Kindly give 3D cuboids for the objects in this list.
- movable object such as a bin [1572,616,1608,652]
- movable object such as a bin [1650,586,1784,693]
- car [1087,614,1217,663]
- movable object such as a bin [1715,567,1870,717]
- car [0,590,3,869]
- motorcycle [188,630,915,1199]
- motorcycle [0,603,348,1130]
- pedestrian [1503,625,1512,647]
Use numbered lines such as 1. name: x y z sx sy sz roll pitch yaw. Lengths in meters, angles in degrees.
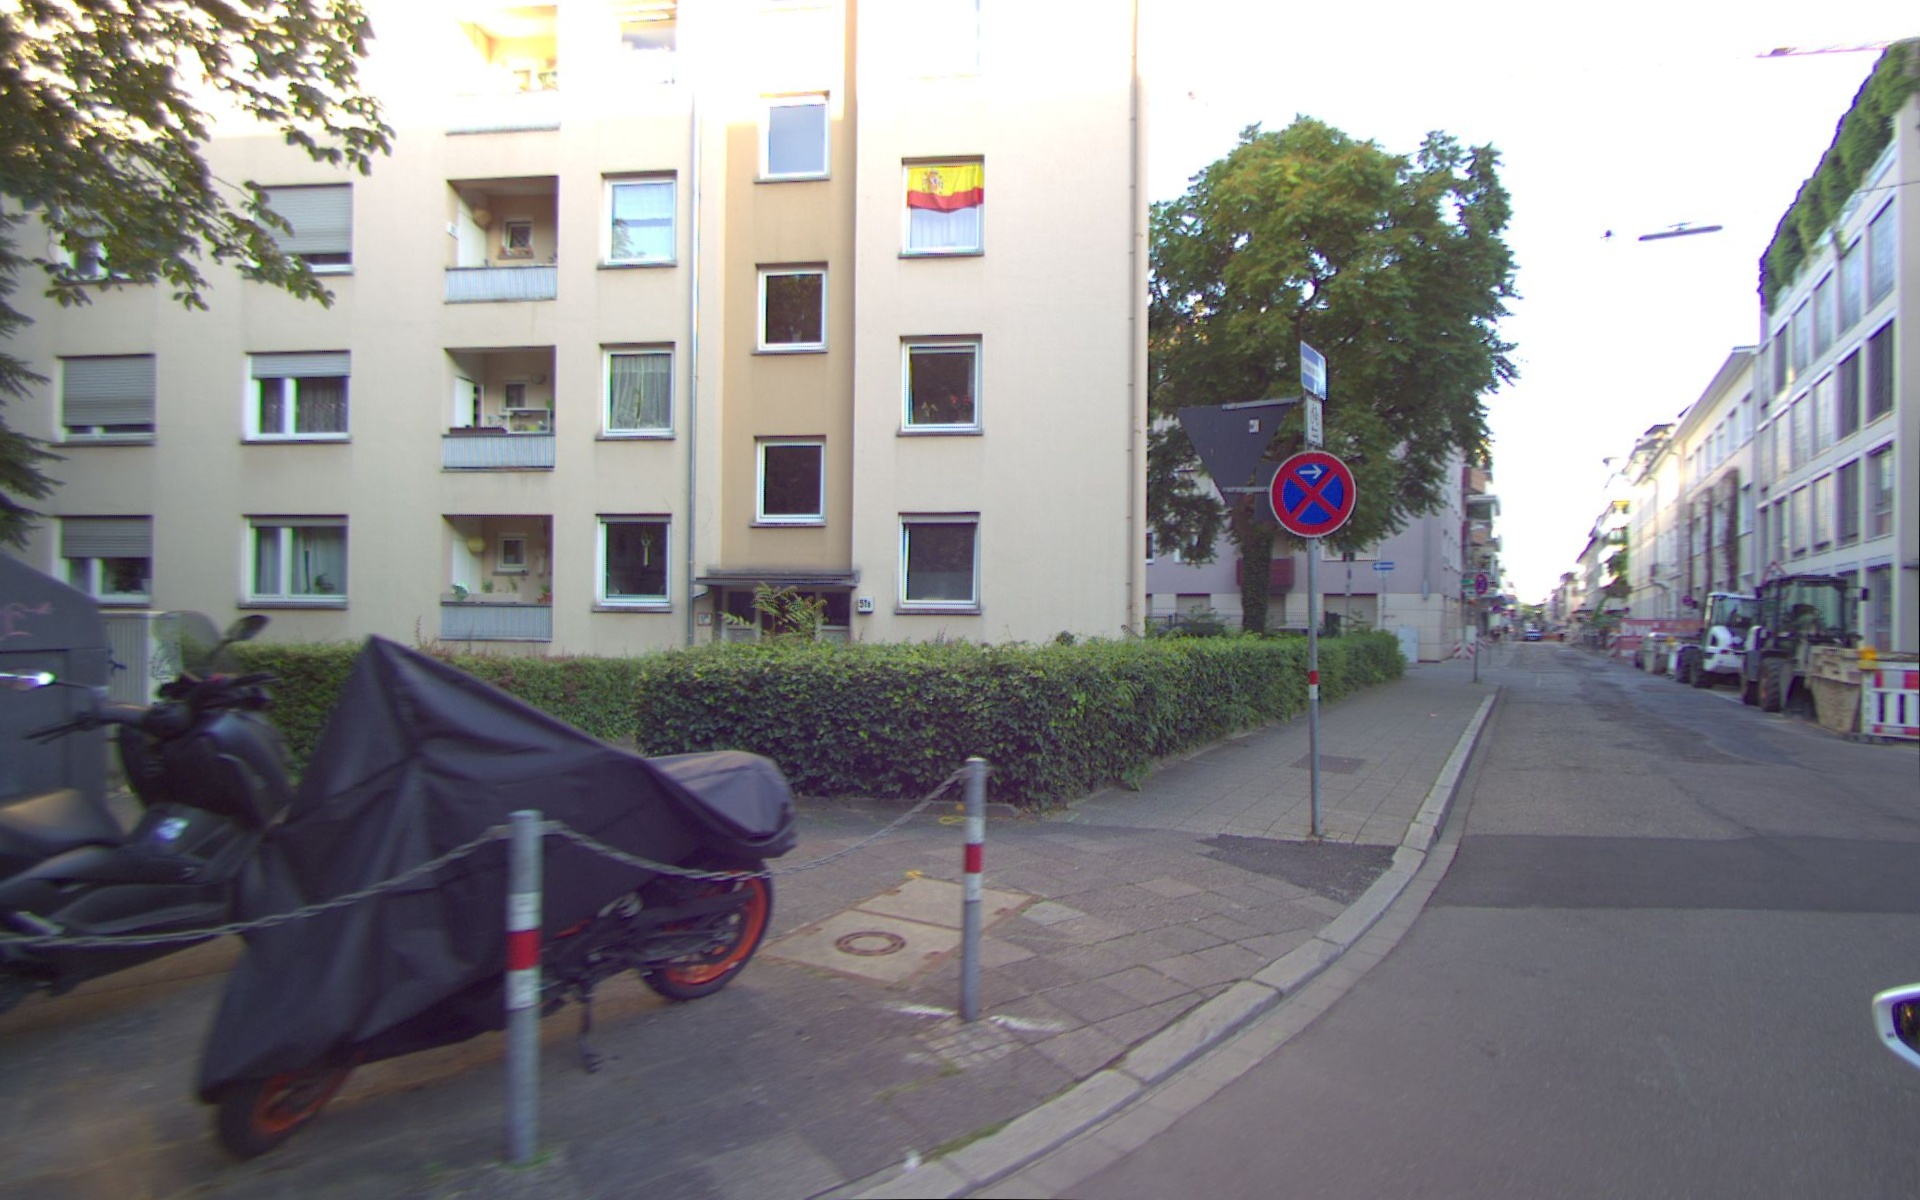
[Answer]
1. movable object such as a bin: 57.409 3.070 91.588 2.434 3.172 4.290 1 0 29
2. movable object such as a bin: 20.543 1.031 27.522 2.134 2.630 5.534 1 -1 29
3. car: 7.026 1.367 36.825 4.307 1.662 1.824 0 -1 31
4. movable object such as a bin: 16.550 0.805 20.182 1.770 2.669 4.102 0 -1 31
5. car: -6.777 0.758 3.638 2.013 1.602 4.515 1 1 8
6. motorcycle: -1.139 0.808 3.399 0.712 1.392 2.216 0 -1 37
7. motorcycle: -3.061 0.767 3.132 0.677 1.513 2.226 1 -1 9
8. pedestrian: 47.634 3.125 87.446 0.644 1.911 0.573 1 -1 25
